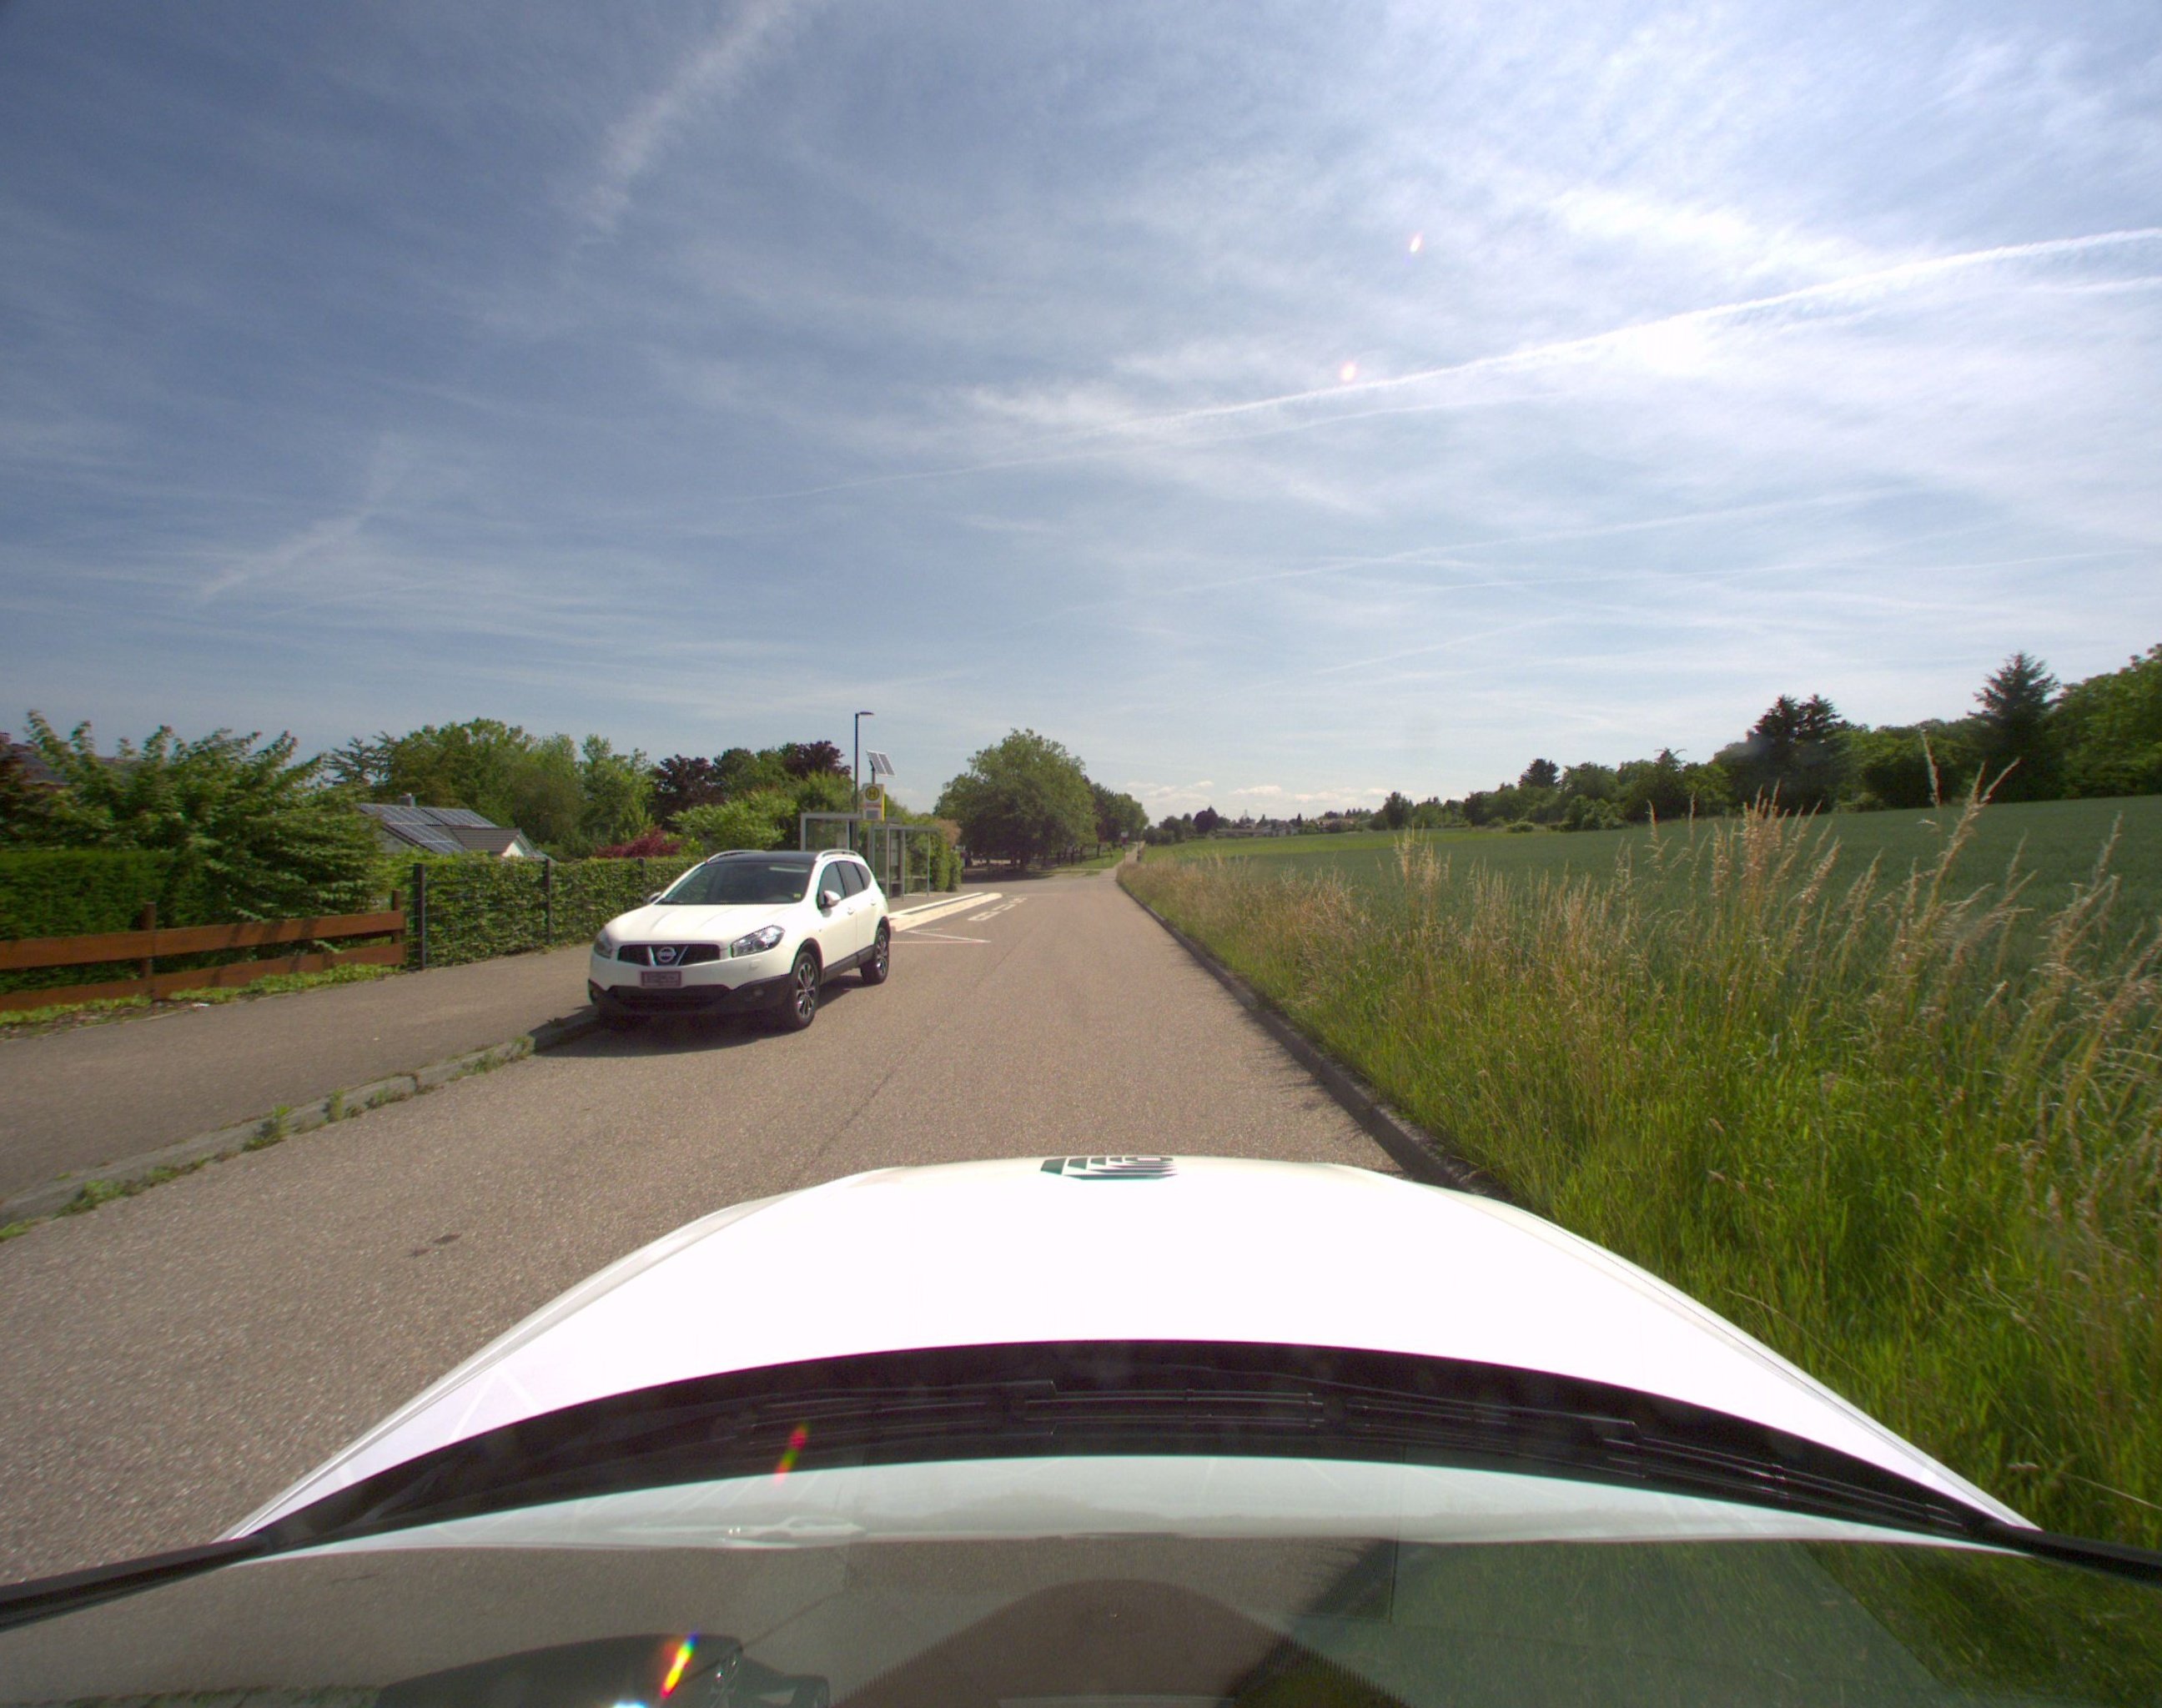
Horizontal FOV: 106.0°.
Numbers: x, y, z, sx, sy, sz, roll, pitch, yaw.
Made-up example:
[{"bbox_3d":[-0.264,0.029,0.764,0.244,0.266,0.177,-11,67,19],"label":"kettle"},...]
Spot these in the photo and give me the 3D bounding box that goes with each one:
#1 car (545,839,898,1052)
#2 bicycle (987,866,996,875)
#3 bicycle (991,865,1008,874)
[{"bbox_3d":[-3.288,0.726,8.515,1.728,1.633,4.352,-1,-1,0],"label":"car"},{"bbox_3d":[-11.005,2.052,100.041,0.591,1.039,1.899,-2,0,12],"label":"bicycle"},{"bbox_3d":[-10.193,1.980,102.198,2.058,1.039,0.571,-2,0,-4],"label":"bicycle"}]
